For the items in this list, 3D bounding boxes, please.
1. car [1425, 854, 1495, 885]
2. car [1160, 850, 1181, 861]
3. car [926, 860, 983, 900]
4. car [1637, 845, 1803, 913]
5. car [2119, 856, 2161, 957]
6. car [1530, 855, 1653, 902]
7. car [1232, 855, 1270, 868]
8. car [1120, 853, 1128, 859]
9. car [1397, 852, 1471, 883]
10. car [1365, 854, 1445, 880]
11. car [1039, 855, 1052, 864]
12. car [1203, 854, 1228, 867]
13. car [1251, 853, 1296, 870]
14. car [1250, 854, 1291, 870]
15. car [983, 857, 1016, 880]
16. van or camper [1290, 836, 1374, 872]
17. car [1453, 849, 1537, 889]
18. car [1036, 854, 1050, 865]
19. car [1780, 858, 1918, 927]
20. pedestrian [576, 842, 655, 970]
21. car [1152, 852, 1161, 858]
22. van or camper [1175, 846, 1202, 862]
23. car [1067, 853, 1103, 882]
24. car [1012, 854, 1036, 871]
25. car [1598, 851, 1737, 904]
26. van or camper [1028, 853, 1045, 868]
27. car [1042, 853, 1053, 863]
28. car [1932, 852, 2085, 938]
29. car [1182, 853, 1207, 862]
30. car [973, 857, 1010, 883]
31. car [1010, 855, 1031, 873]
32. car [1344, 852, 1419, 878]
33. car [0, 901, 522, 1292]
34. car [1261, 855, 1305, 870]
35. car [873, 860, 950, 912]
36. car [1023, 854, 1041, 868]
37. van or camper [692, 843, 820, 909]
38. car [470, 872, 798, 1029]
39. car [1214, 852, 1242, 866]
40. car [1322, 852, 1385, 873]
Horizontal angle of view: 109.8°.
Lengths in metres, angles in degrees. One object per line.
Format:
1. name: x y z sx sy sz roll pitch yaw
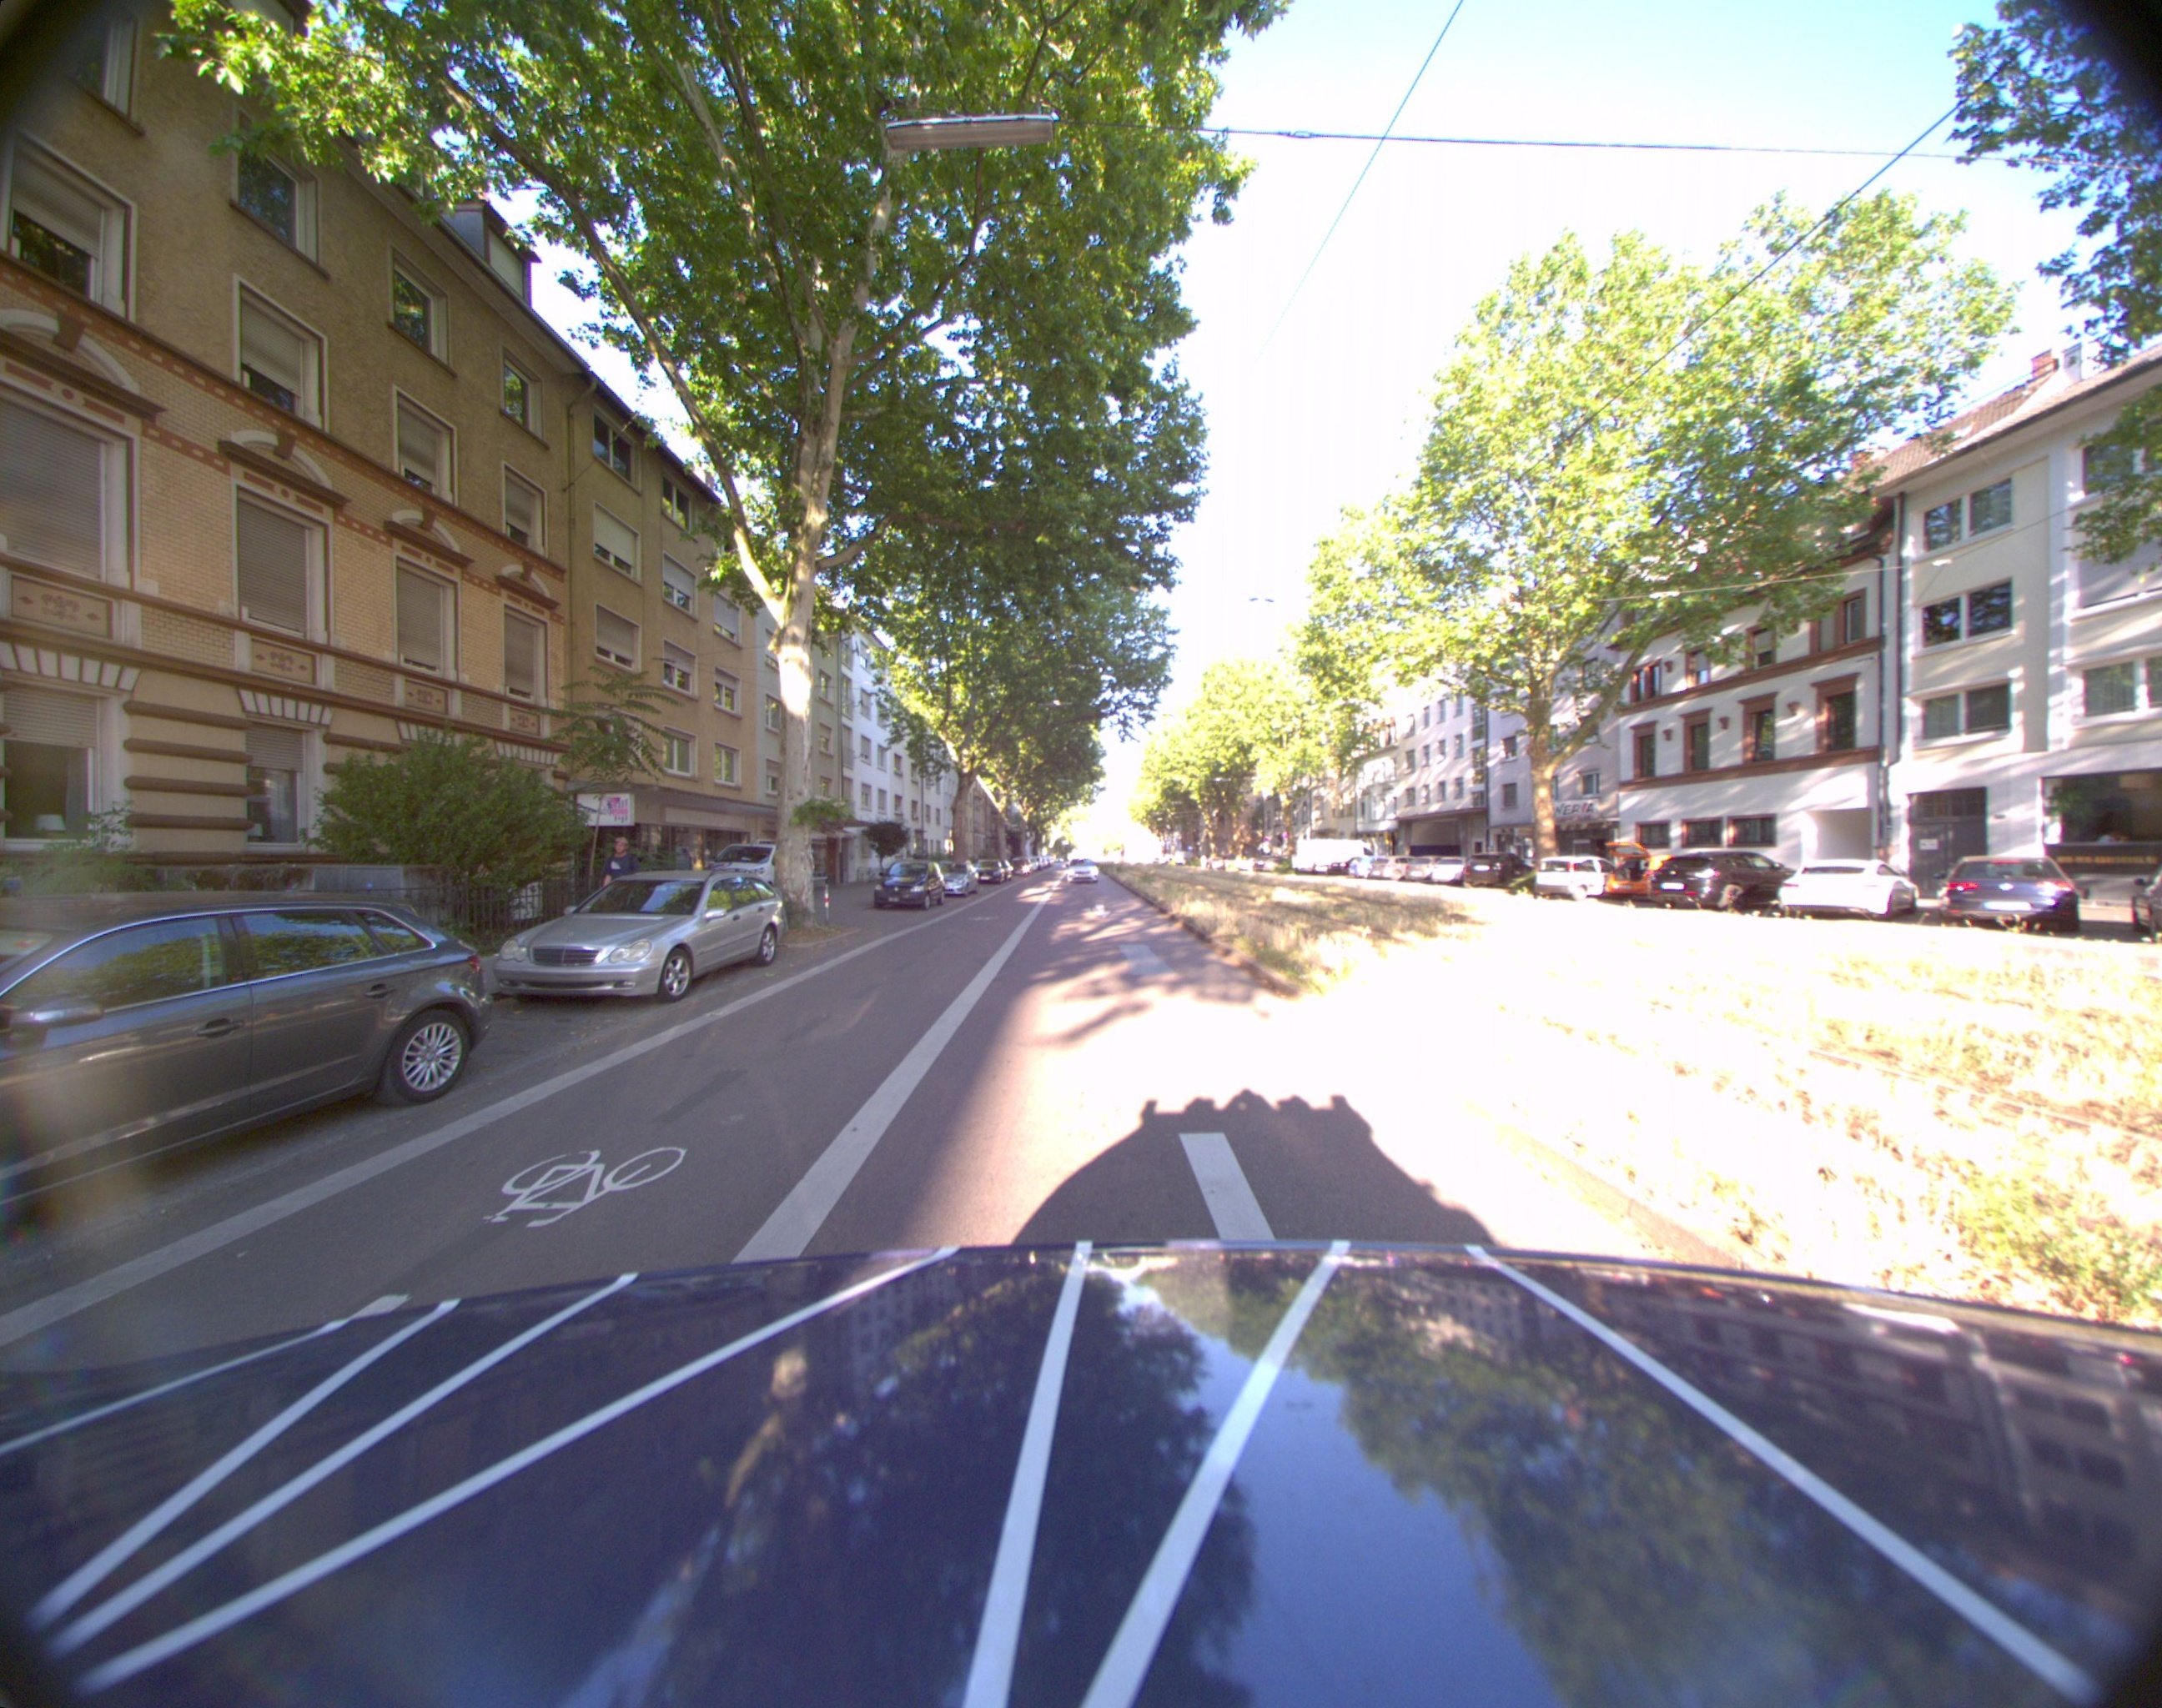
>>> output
1. car: 18.916 0.747 37.871 4.008 1.377 1.907 -2 0 -45
2. car: 18.323 0.381 154.808 4.007 2.002 1.995 -3 1 -42
3. car: -5.307 1.053 32.476 1.699 1.533 4.776 0 0 -1
4. car: 18.301 0.689 21.752 4.370 1.776 1.989 1 1 -26
5. car: 19.059 0.817 12.685 4.007 1.433 1.717 -3 1 -41
6. car: 18.042 0.814 26.813 4.369 1.440 1.655 -2 1 -26
7. car: 18.214 0.785 81.432 3.687 1.382 1.822 -1 0 -31
8. car: 11.657 0.514 205.534 1.997 1.477 4.002 -2 1 8
9. car: 19.067 0.696 40.951 4.006 1.414 1.752 -3 1 -34
10. car: 19.176 0.739 45.082 4.002 1.483 1.948 0 0 -13
11. car: -5.605 0.831 119.799 1.790 1.458 3.569 1 0 0
12. car: 15.047 0.666 85.166 1.825 1.382 4.483 2 0 -1
13. car: 18.649 0.720 73.548 4.169 1.583 1.932 2 -1 -36
14. car: 19.224 0.806 76.928 4.008 1.524 1.821 1 -1 -36
15. car: -5.399 0.926 50.566 1.713 1.407 4.363 2 0 0
16. van or camper: 18.985 -0.042 57.452 5.974 2.631 2.175 -1 0 -20
17. car: 18.689 0.645 34.233 4.008 1.651 1.995 -1 0 -41
18. car: -5.480 0.784 109.726 1.790 1.609 3.829 1 0 0
19. car: 18.654 0.859 18.403 4.212 1.325 1.718 -3 1 -36
20. pedestrian: -7.587 0.817 12.430 0.684 2.002 1.011 0 1 -3
21. car: 20.198 0.327 202.876 1.998 1.412 4.000 -2 1 2
22. van or camper: 18.368 0.026 129.720 4.371 2.386 2.196 -4 2 -40
23. car: 0.246 0.755 44.235 1.893 1.501 4.000 -2 1 1
24. car: -5.479 0.808 73.262 1.999 1.557 4.663 2 1 0
25. car: 19.502 0.736 25.263 4.003 1.471 1.774 -3 1 -20
26. van or camper: -5.406 0.763 92.703 1.790 1.710 4.379 1 0 1
27. car: -5.590 0.608 127.088 1.791 1.585 4.013 1 0 -2
28. car: 19.364 0.775 16.026 4.007 1.433 1.797 -3 1 -43
29. car: 18.982 0.589 127.197 4.006 1.240 1.726 -4 1 -34
30. car: -5.313 0.918 45.675 1.713 1.407 4.363 2 0 0
31. car: -5.277 0.858 66.486 1.748 1.455 4.024 -1 0 -5
32. car: 18.967 0.688 48.039 3.998 1.412 1.857 -3 1 -4
33. car: -5.179 1.064 3.660 1.714 1.388 4.321 0 0 1
34. car: 18.703 0.816 70.261 4.014 1.349 1.797 1 0 -37
35. car: -5.424 0.968 24.720 1.658 1.536 3.999 0 0 -1
36. car: -5.541 0.791 86.404 1.702 1.517 4.194 0 0 0
37. van or camper: -10.433 0.640 24.955 1.947 1.911 5.390 0 0 -1
38. car: -5.340 1.021 9.926 1.678 1.443 4.570 0 0 -2
39. car: 18.837 0.635 97.406 1.726 1.643 4.009 -1 -1 40
40. car: 19.709 0.606 54.943 4.004 1.482 1.996 0 0 -22
